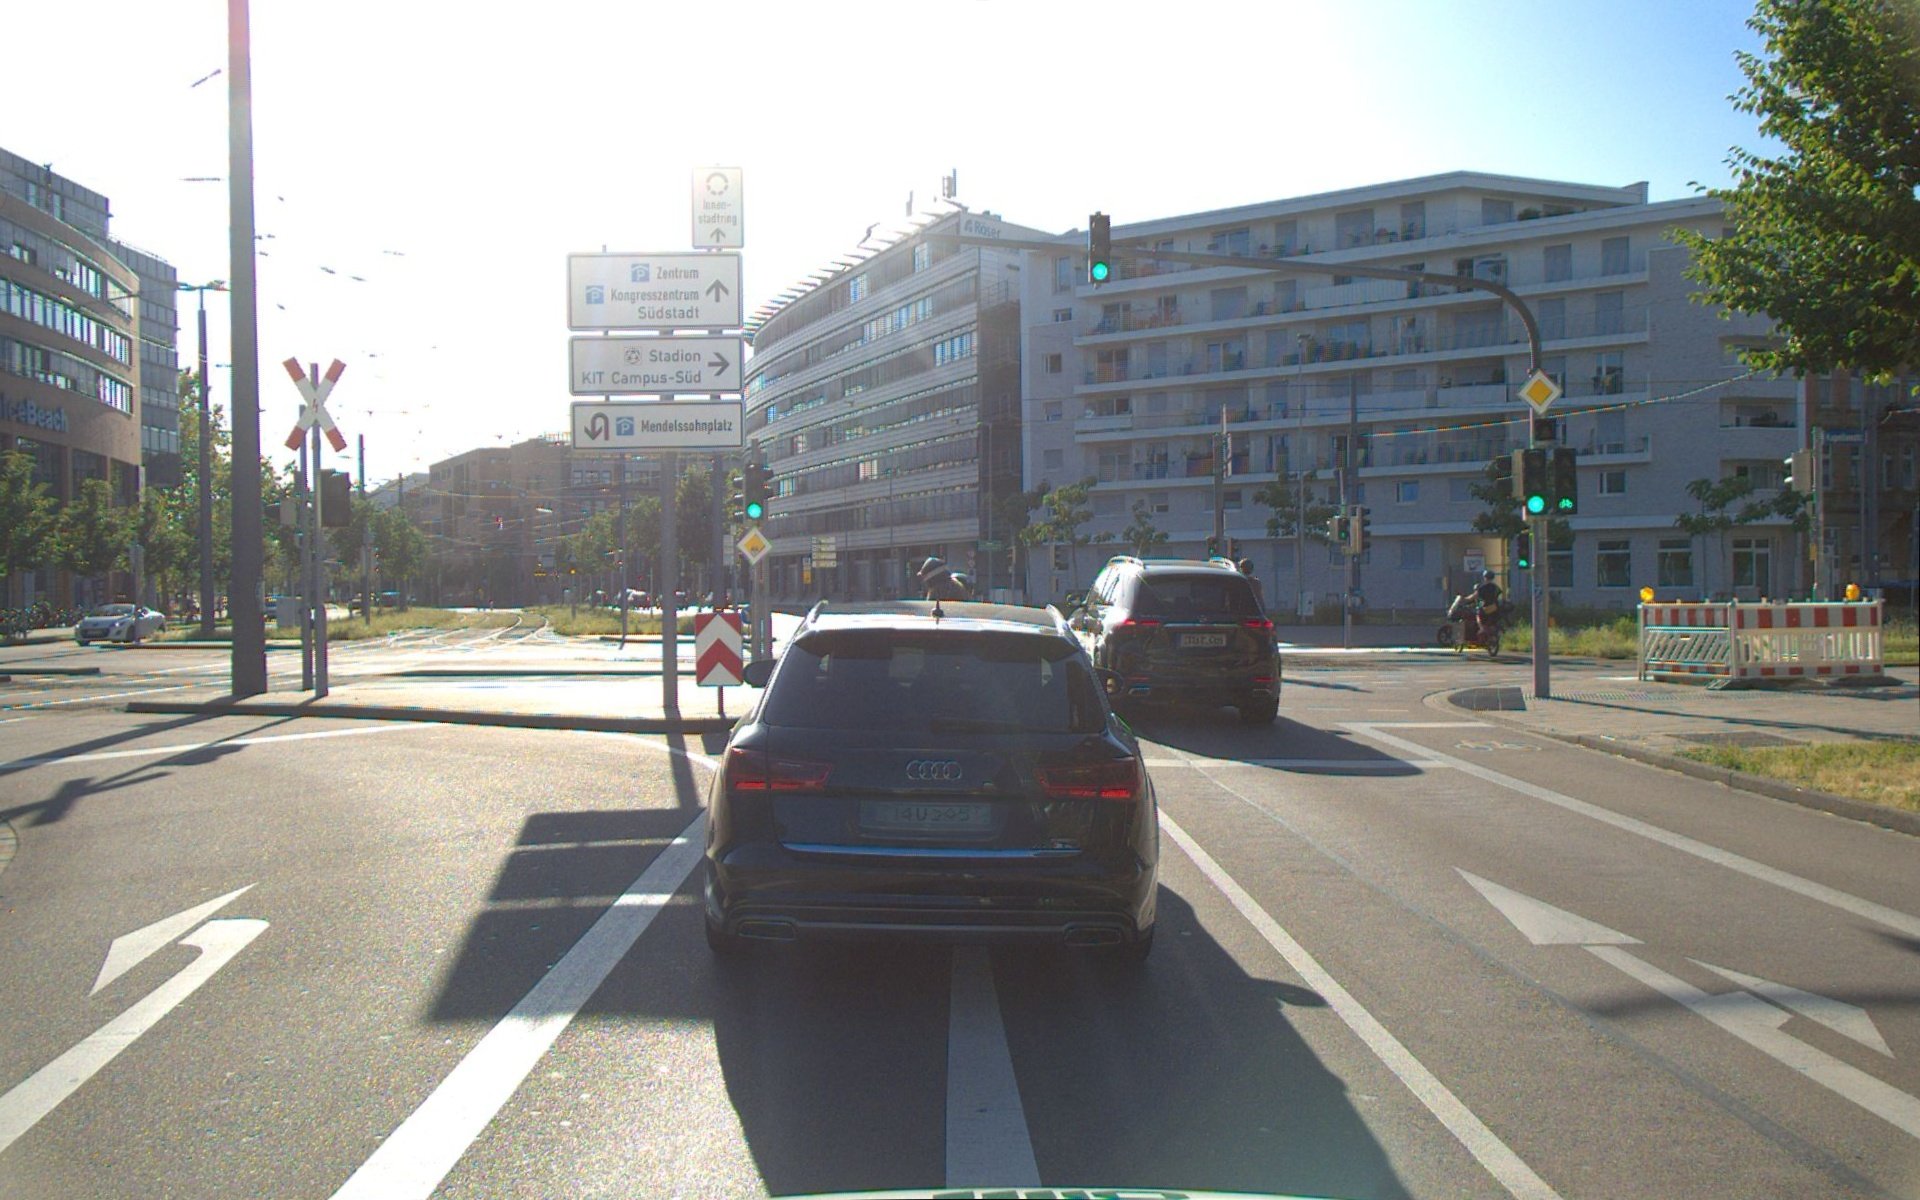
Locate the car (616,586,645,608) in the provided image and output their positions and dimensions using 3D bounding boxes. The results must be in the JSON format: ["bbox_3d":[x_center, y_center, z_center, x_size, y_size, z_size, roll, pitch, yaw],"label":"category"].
[{"bbox_3d":[-28.828,-0.255,144.472,1.963,1.736,3.978,-1,0,-19],"label":"car"}]

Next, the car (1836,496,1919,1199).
[{"bbox_3d":[2.923,0.669,1.694,1.710,1.725,4.260,1,0,-1],"label":"car"}]

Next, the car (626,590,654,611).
[{"bbox_3d":[-26.861,0.063,138.595,1.961,1.624,3.982,-1,0,-16],"label":"car"}]

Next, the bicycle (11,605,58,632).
[{"bbox_3d":[-50.803,1.010,90.781,2.197,1.458,0.719,-2,-1,8],"label":"bicycle"}]

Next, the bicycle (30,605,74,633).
[{"bbox_3d":[-50.947,1.064,92.817,2.092,1.458,0.759,-2,-1,8],"label":"bicycle"}]

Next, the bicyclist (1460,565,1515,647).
[{"bbox_3d":[11.363,0.121,35.636,0.752,1.736,0.927,-1,0,-12],"label":"bicyclist"}]

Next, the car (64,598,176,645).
[{"bbox_3d":[-30.010,0.733,59.253,1.954,1.572,4.526,-1,1,-4],"label":"car"}]

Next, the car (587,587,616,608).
[{"bbox_3d":[-31.171,-0.200,143.857,1.963,1.736,3.978,-1,0,-19],"label":"car"}]

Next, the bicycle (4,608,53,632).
[{"bbox_3d":[-50.644,1.084,89.934,2.362,1.257,0.745,-2,0,8],"label":"bicycle"}]

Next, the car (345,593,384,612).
[{"bbox_3d":[-56.817,0.225,157.854,1.952,1.668,4.414,-1,0,3],"label":"car"}]

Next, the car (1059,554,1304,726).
[{"bbox_3d":[2.427,0.387,19.283,1.963,1.745,4.369,1,1,-4],"label":"car"}]

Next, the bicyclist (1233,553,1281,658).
[{"bbox_3d":[4.859,0.080,27.102,0.640,1.671,0.972,-1,1,2],"label":"bicyclist"}]

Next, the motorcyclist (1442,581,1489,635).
[{"bbox_3d":[14.378,0.223,47.097,0.907,1.507,1.170,-1,0,-4],"label":"motorcyclist"}]

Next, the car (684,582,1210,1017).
[{"bbox_3d":[-0.086,0.677,7.741,1.805,1.479,3.999,1,1,-1],"label":"car"}]

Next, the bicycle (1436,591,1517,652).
[{"bbox_3d":[11.263,0.457,36.137,0.752,1.284,2.076,-1,0,-12],"label":"bicycle"}]

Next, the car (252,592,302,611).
[{"bbox_3d":[-65.469,0.117,158.657,1.966,1.736,3.974,-2,0,43],"label":"car"}]

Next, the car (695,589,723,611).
[{"bbox_3d":[-22.483,-0.030,147.963,1.961,1.870,3.982,-1,0,-16],"label":"car"}]

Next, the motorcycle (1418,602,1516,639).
[{"bbox_3d":[14.429,0.576,47.102,2.404,1.018,1.170,-1,0,-5],"label":"motorcycle"}]

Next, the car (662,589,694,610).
[{"bbox_3d":[-23.248,0.009,136.252,1.964,1.624,3.977,-1,0,-19],"label":"car"}]

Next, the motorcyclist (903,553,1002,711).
[{"bbox_3d":[-0.068,0.275,14.603,0.845,1.349,0.681,-1,0,-1],"label":"motorcyclist"}]

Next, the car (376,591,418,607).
[{"bbox_3d":[-59.276,-0.138,174.106,1.952,1.668,4.414,-1,0,18],"label":"car"}]

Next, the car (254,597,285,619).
[{"bbox_3d":[-47.418,0.532,113.545,1.870,1.431,3.969,-2,1,-24],"label":"car"}]

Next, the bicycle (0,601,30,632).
[{"bbox_3d":[-46.411,0.802,79.896,2.507,1.458,0.905,-2,0,8],"label":"bicycle"}]

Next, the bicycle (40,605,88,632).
[{"bbox_3d":[-50.856,1.022,93.891,2.369,1.458,0.789,-2,-1,8],"label":"bicycle"}]

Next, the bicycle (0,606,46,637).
[{"bbox_3d":[-46.845,1.065,82.137,2.507,1.458,0.905,-2,0,8],"label":"bicycle"}]

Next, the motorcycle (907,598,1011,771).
[{"bbox_3d":[-0.021,0.698,14.668,0.845,1.417,1.893,-1,0,-1],"label":"motorcycle"}]

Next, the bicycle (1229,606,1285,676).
[{"bbox_3d":[4.846,0.655,27.101,0.640,1.061,1.930,-1,1,2],"label":"bicycle"}]
